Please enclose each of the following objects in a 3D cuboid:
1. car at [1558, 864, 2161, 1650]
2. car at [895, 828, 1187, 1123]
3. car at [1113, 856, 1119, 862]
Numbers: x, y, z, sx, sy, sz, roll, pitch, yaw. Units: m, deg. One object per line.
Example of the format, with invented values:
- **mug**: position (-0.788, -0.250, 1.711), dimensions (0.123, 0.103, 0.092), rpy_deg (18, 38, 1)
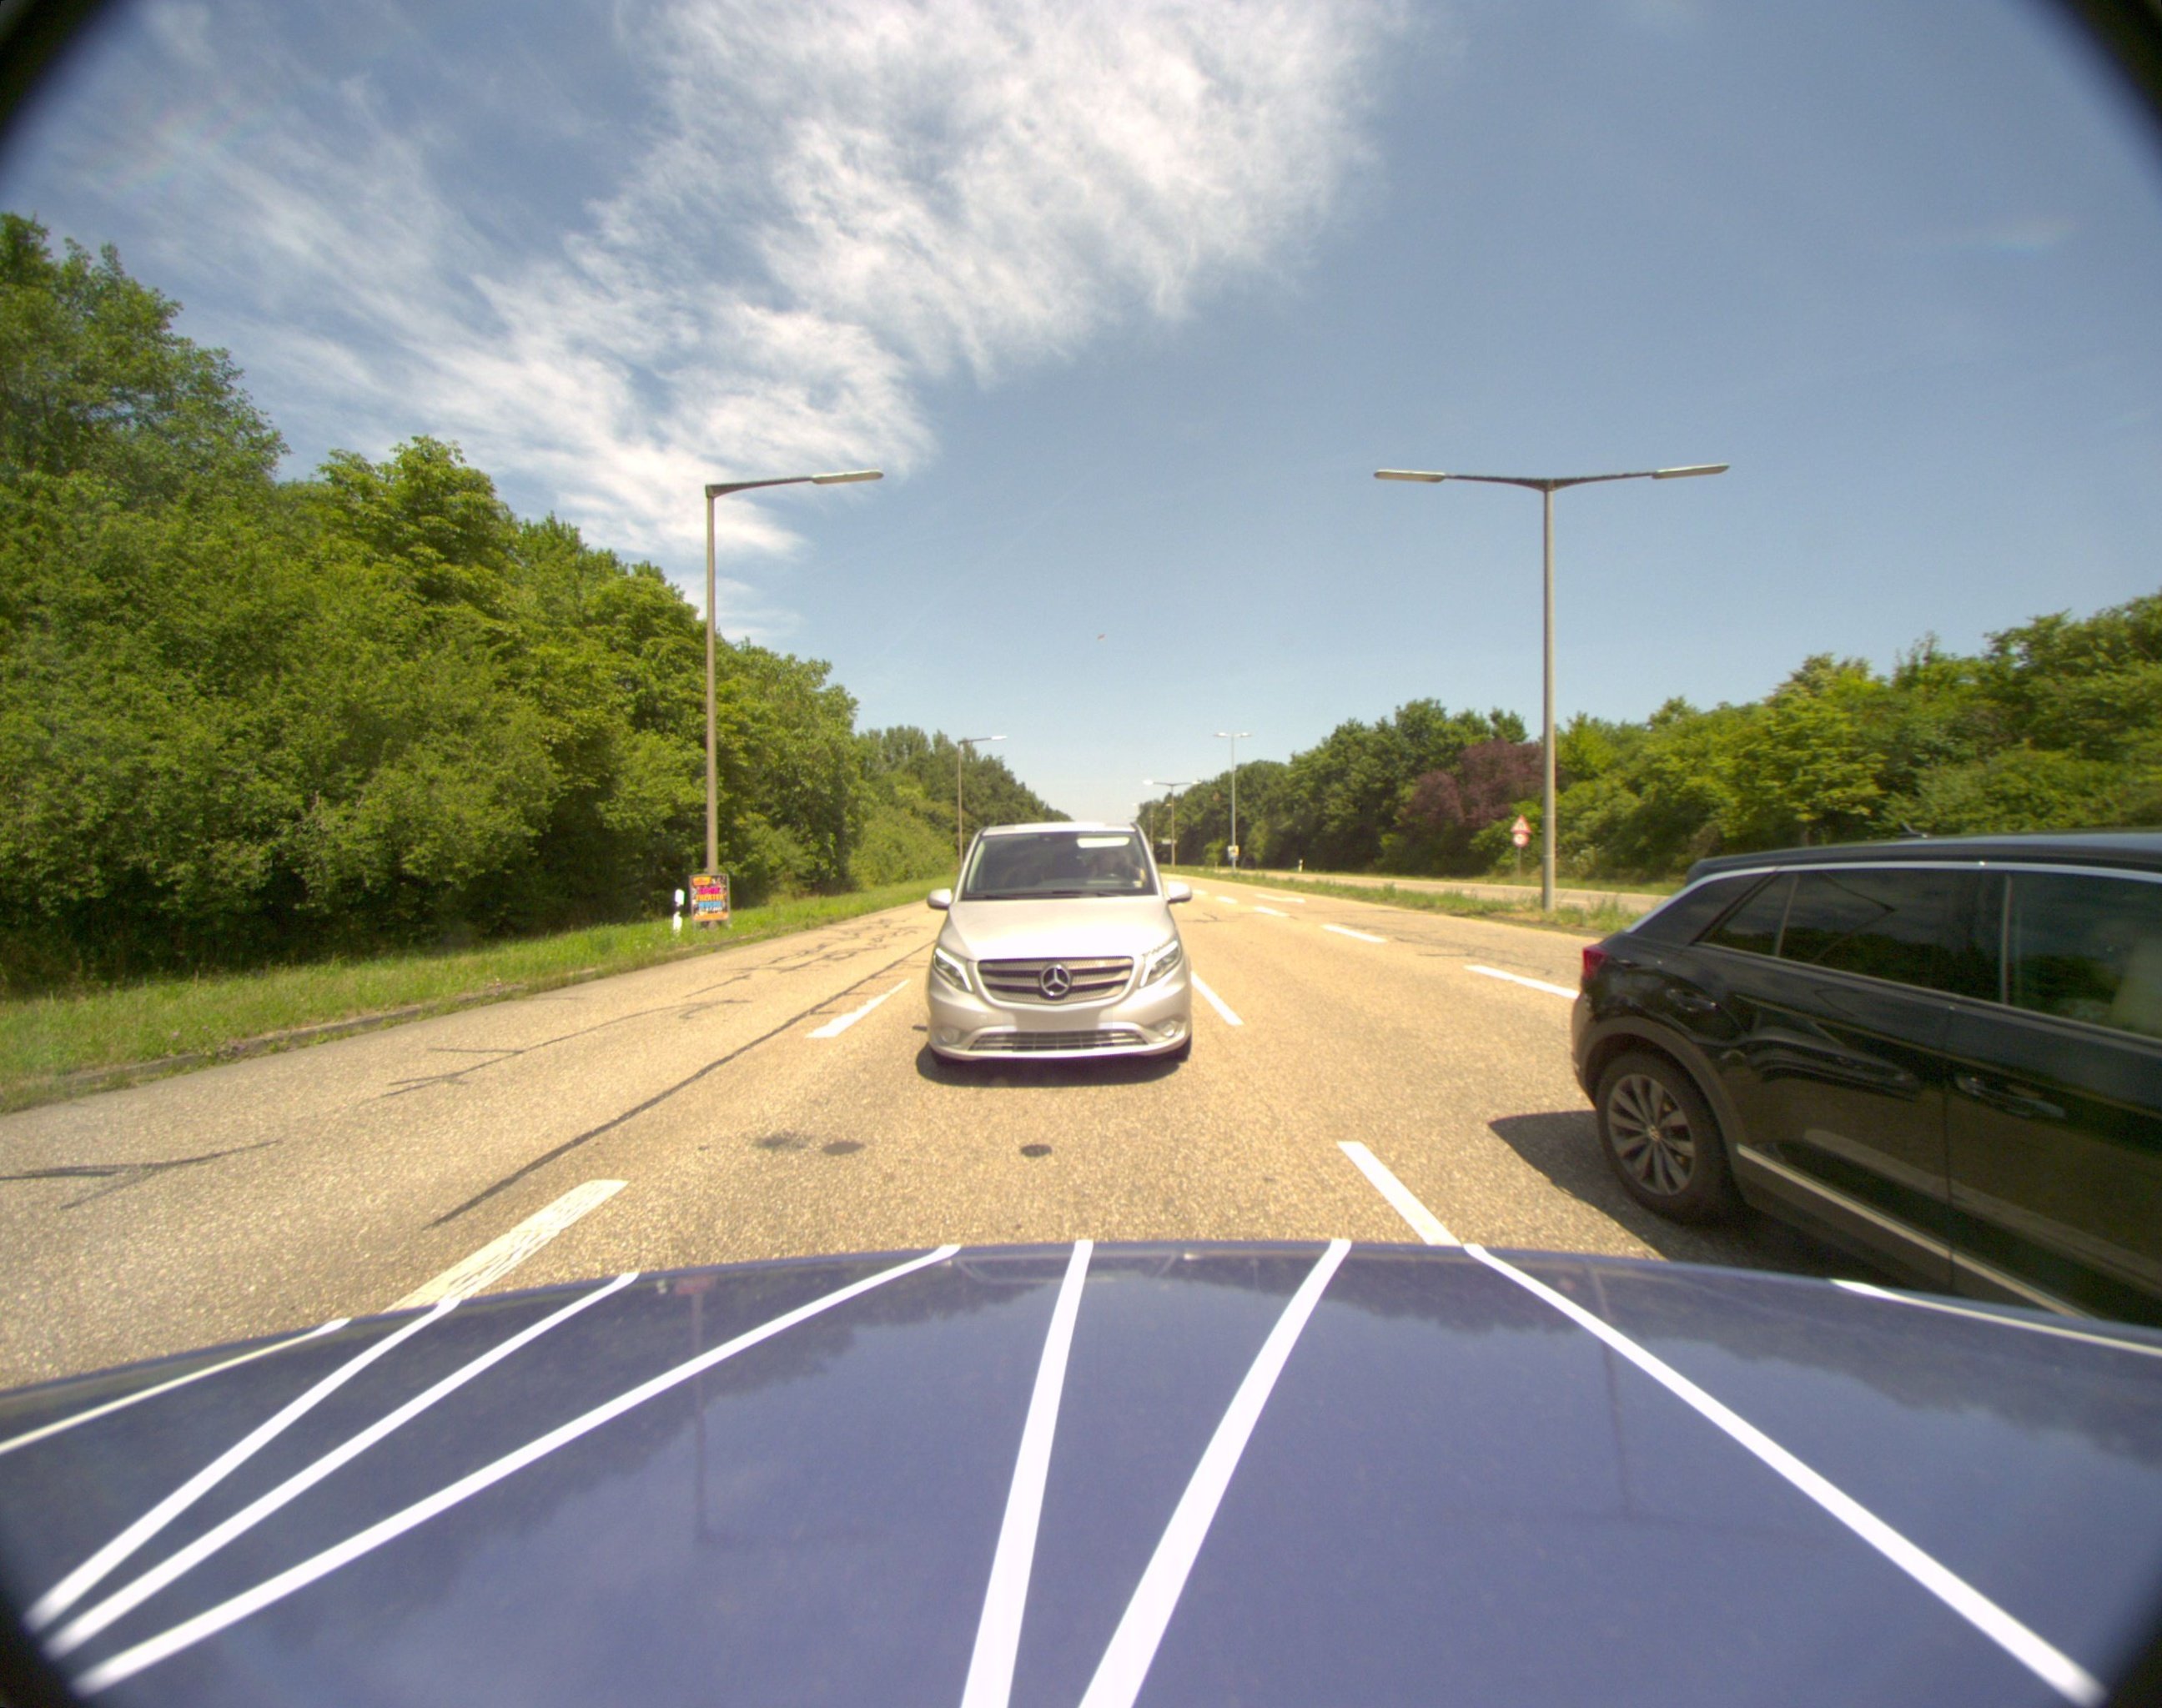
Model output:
- **car**: position (3.065, 0.855, 1.514), dimensions (1.739, 1.503, 3.970), rpy_deg (-2, 1, 1)
- **car**: position (-0.224, 0.757, 7.190), dimensions (1.764, 1.794, 4.855), rpy_deg (-2, 0, 1)
- **car**: position (11.524, 1.548, 250.754), dimensions (1.735, 1.815, 4.321), rpy_deg (-1, 0, 1)
